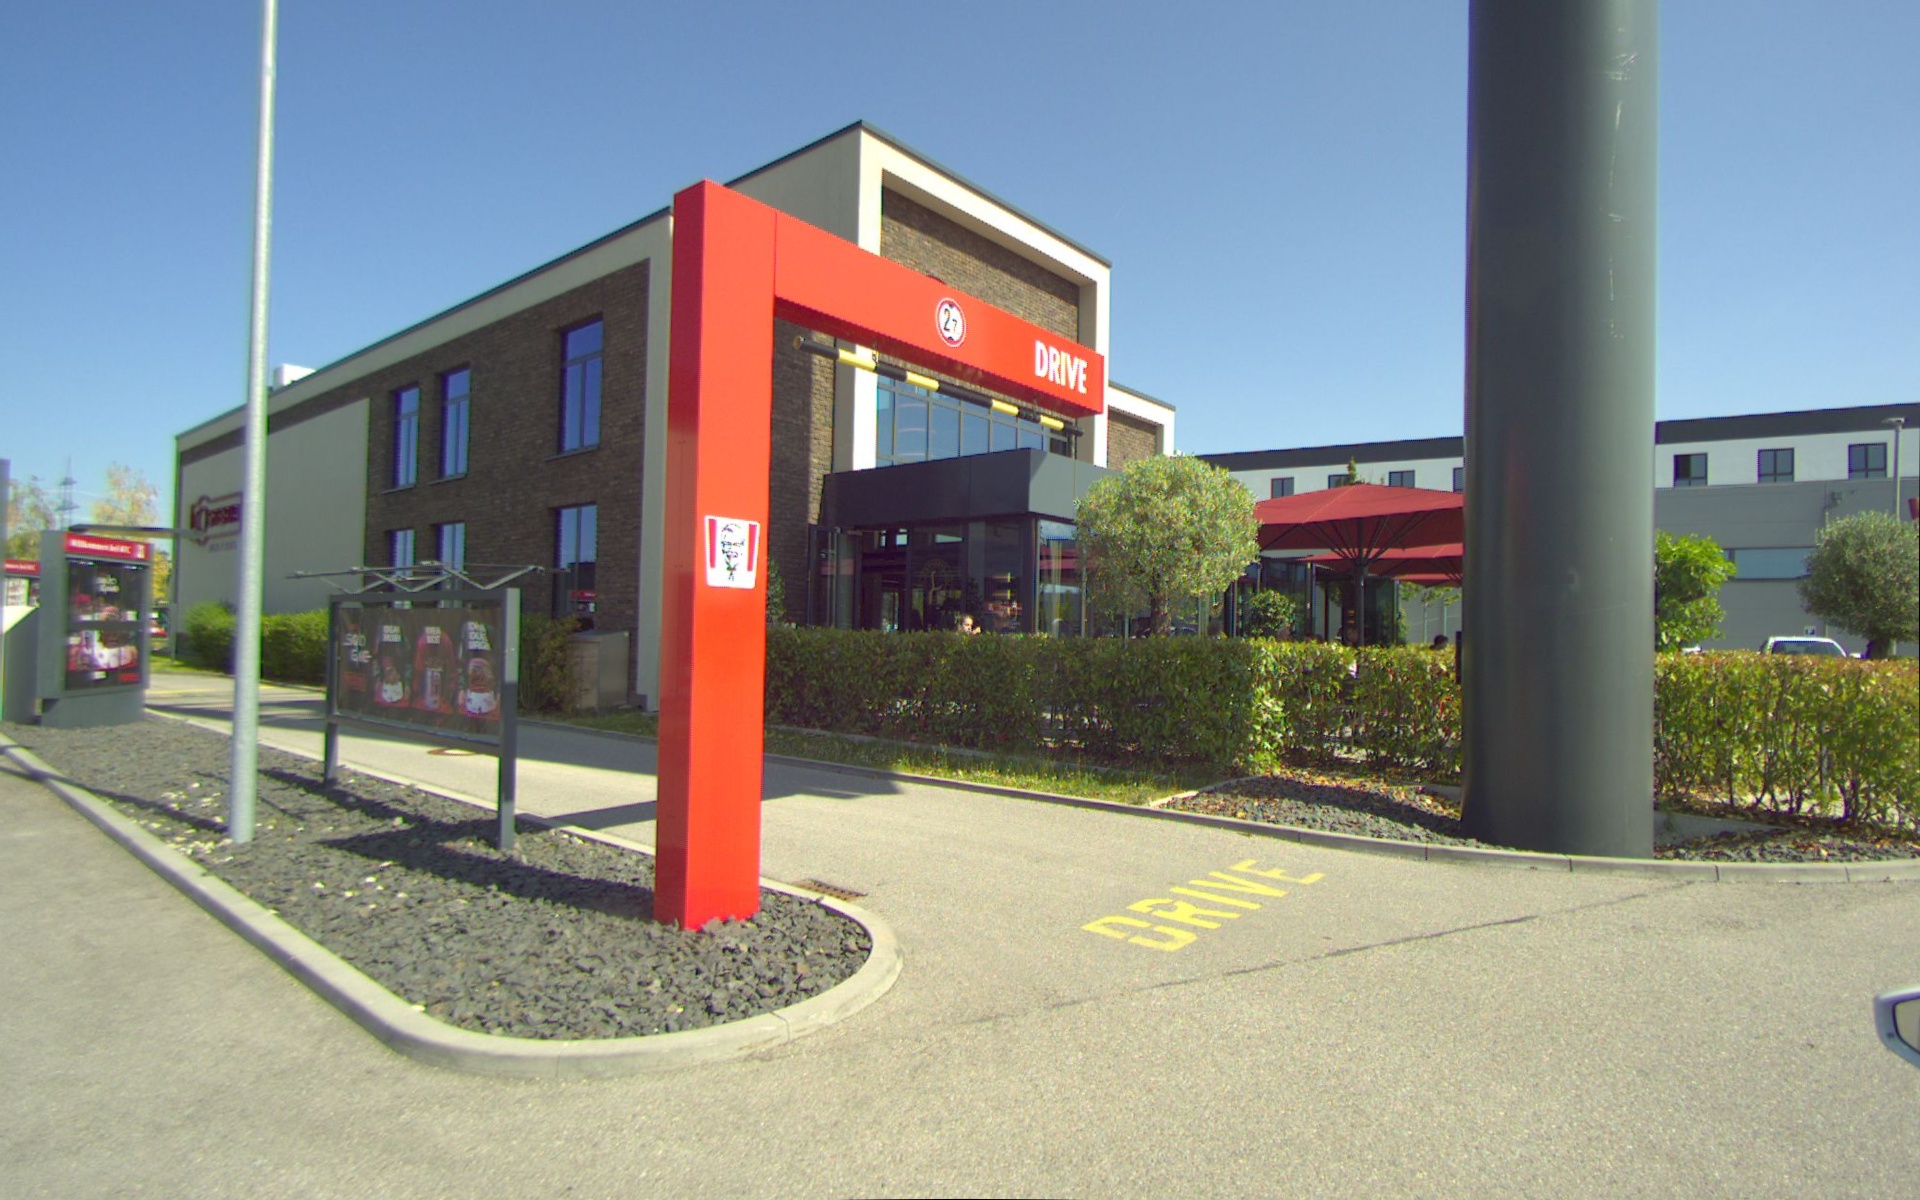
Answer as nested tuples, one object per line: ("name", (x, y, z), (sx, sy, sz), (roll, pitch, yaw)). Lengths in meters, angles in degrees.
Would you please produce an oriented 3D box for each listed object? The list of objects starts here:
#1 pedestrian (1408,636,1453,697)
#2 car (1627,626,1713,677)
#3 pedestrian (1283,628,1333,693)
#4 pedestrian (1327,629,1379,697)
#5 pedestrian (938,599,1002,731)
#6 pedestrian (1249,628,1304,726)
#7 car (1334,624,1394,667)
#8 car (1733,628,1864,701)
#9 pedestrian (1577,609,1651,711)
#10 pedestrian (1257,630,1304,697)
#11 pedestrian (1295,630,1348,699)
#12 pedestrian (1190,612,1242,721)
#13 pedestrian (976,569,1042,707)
("pedestrian", (8.846, 1.235, 18.884), (0.539, 1.104, 0.573), (1, -1, -33))
("car", (24.420, 1.720, 34.700), (1.918, 1.607, 4.369), (0, -1, 29))
("pedestrian", (6.722, 1.157, 19.404), (0.607, 1.214, 0.707), (1, -1, -19))
("pedestrian", (7.268, 1.148, 18.568), (0.612, 1.214, 0.701), (1, -1, -41))
("pedestrian", (0.121, 0.757, 11.964), (0.517, 1.525, 0.567), (0, -1, 38))
("pedestrian", (3.976, 0.953, 12.650), (0.637, 1.200, 0.482), (0, -1, 15))
("car", (15.889, 1.743, 39.422), (1.706, 1.587, 3.945), (0, -1, 29))
("car", (19.779, 1.444, 23.884), (1.921, 1.551, 4.364), (0, -1, 34))
("pedestrian", (11.271, 1.011, 17.320), (0.773, 1.710, 0.760), (1, -1, -15))
("pedestrian", (5.977, 1.167, 18.724), (0.698, 1.214, 0.666), (0, -1, 33))
("pedestrian", (6.486, 1.146, 18.022), (0.606, 1.214, 0.708), (1, -1, -13))
("pedestrian", (3.354, 0.852, 13.153), (0.637, 1.385, 0.482), (0, -1, 15))
("pedestrian", (0.563, 0.432, 11.501), (0.517, 1.525, 0.567), (0, -1, 38))
